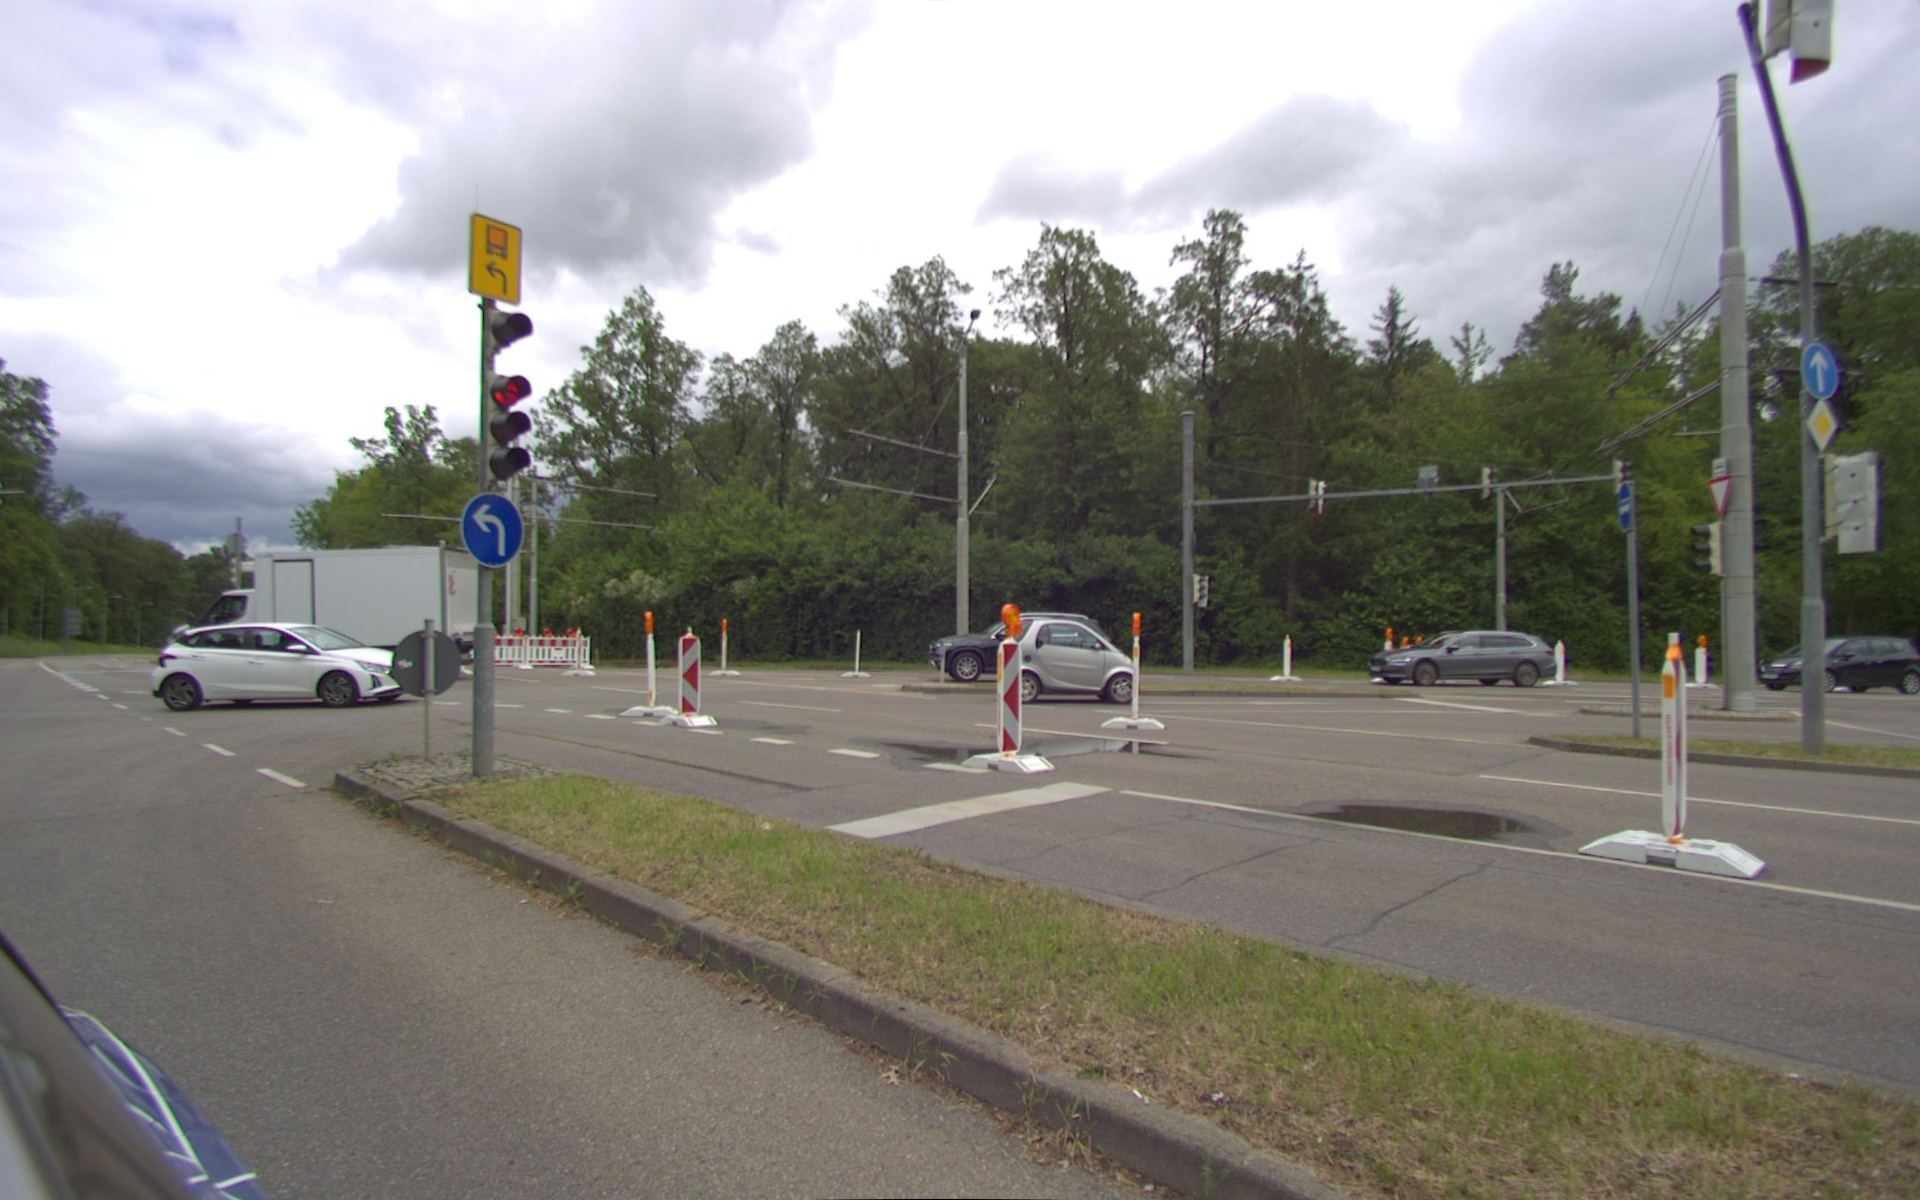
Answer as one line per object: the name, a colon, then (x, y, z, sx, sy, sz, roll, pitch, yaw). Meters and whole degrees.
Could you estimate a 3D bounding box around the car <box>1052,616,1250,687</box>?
car: (4.894, 1.334, 26.473, 4.777, 1.763, 1.968, 0, -2, 0)

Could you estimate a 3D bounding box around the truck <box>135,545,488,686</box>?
truck: (-15.969, 0.439, 25.356, 7.047, 3.249, 2.459, 1, -3, -4)

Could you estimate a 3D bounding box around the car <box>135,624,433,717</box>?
car: (-11.623, 1.209, 17.601, 4.013, 1.490, 1.656, 1, -3, -2)

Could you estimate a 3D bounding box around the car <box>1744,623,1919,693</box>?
car: (24.953, 1.607, 28.246, 4.621, 1.859, 1.969, 0, -2, -2)

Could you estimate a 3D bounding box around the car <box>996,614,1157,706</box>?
car: (2.109, 1.108, 18.728, 2.686, 1.598, 1.464, 1, -3, -6)

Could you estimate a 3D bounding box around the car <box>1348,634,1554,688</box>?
car: (13.235, 1.634, 27.469, 4.621, 1.372, 1.969, 0, -2, -2)
